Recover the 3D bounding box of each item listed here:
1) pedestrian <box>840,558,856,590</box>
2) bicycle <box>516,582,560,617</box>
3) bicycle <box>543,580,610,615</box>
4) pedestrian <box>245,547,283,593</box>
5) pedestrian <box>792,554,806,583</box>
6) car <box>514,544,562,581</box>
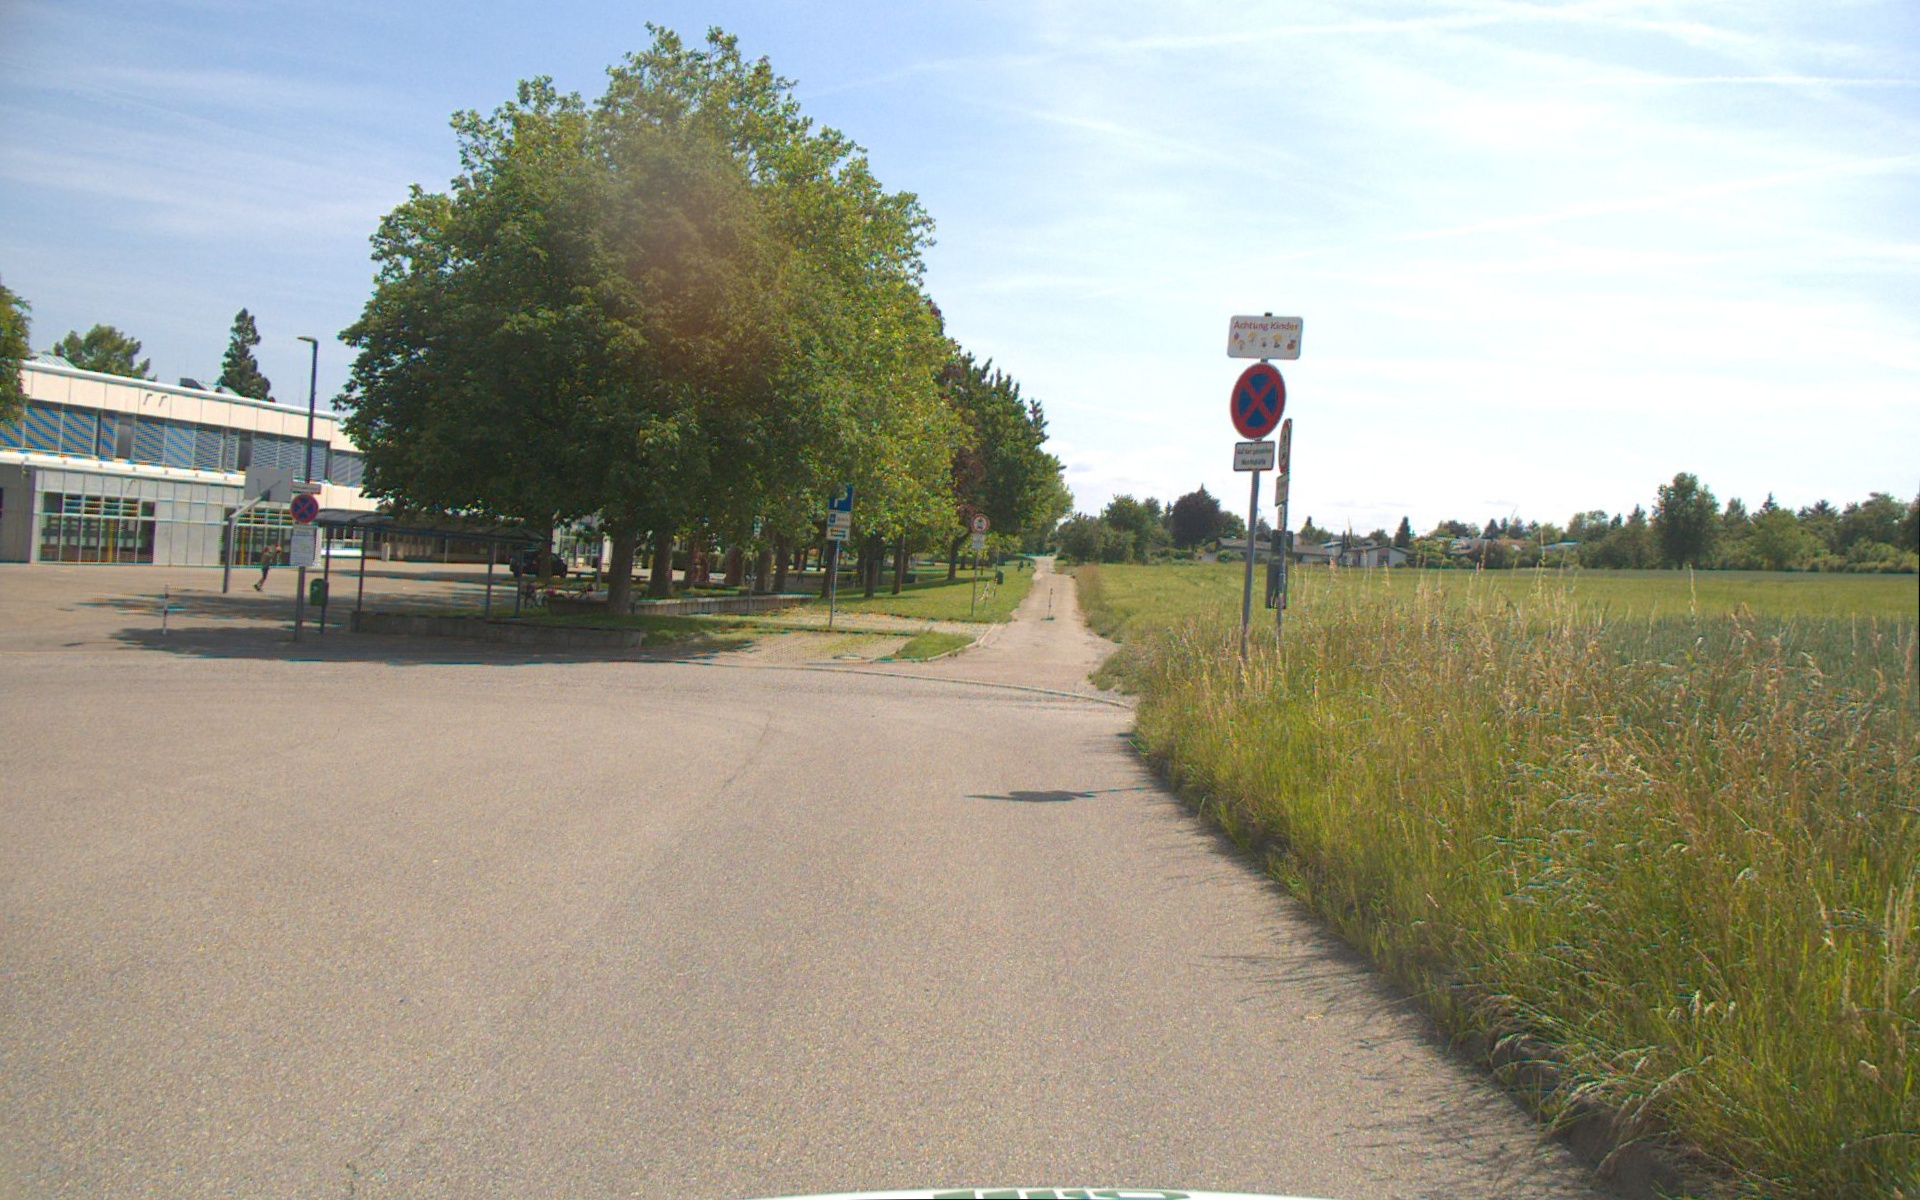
[{"bbox_3d":[-7.426,-1.751,109.928,0.675,2.048,0.795,3,0,-30],"label":"pedestrian"},{"bbox_3d":[-13.071,-0.032,51.256,0.582,1.057,1.894,2,1,10],"label":"bicycle"},{"bbox_3d":[-12.349,-0.075,53.281,2.022,1.057,0.571,2,1,-6],"label":"bicycle"},{"bbox_3d":[-22.715,-0.984,53.984,1.053,1.448,0.912,3,0,-26],"label":"pedestrian"},{"bbox_3d":[-11.548,-2.268,118.579,0.818,2.048,0.689,3,0,-14],"label":"pedestrian"},{"bbox_3d":[-23.029,-2.038,90.280,1.656,1.866,3.411,3,1,0],"label":"car"}]
